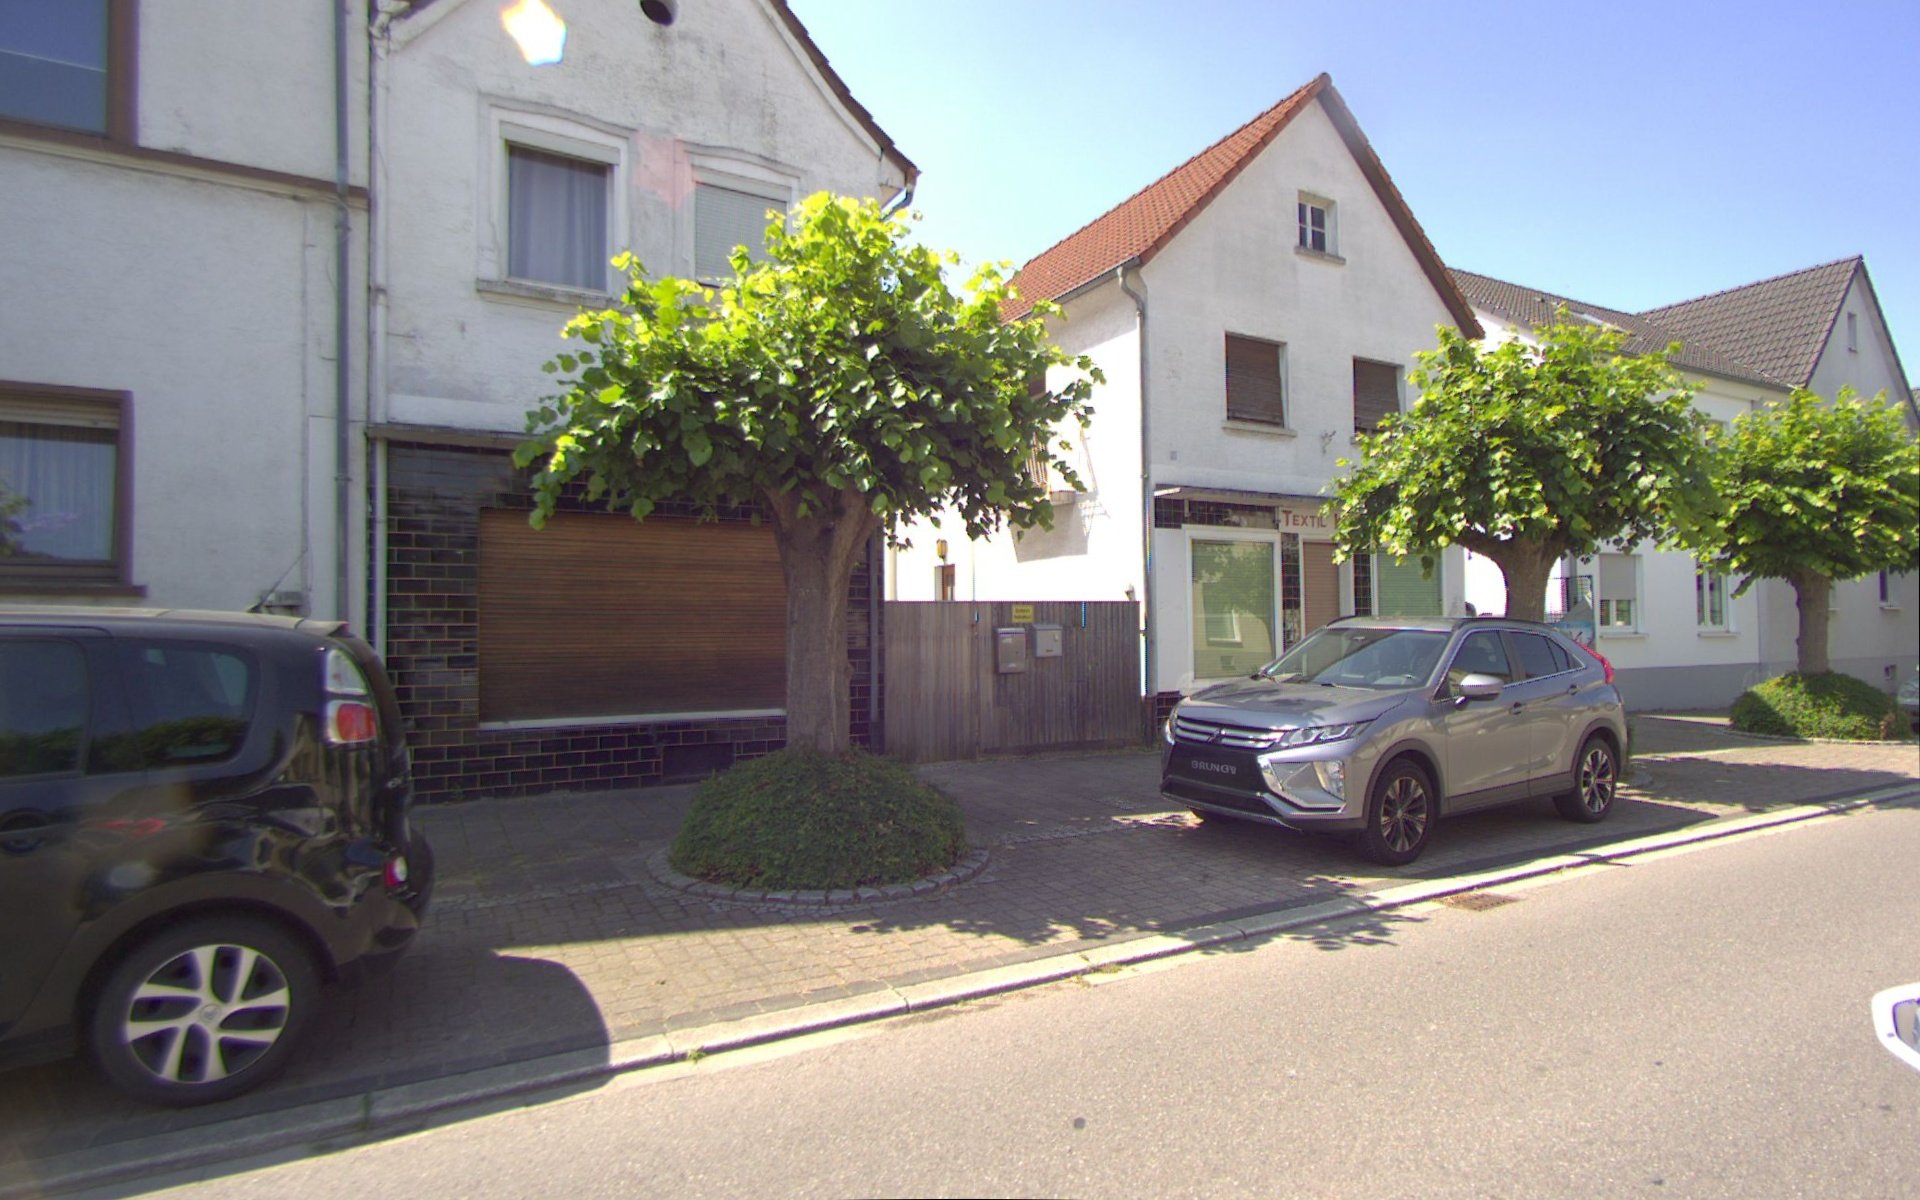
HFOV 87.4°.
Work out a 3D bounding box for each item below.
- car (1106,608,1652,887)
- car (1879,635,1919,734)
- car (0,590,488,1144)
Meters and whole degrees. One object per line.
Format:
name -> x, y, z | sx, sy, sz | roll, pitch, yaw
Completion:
car -> 3.460, 0.948, 8.070 | 4.321, 1.674, 1.982 | 1, -2, -33
car -> 15.876, 1.234, 15.112 | 4.355, 1.414, 1.832 | 1, -1, -30
car -> -3.917, 0.784, 3.460 | 4.009, 1.657, 1.844 | 1, -1, -30
